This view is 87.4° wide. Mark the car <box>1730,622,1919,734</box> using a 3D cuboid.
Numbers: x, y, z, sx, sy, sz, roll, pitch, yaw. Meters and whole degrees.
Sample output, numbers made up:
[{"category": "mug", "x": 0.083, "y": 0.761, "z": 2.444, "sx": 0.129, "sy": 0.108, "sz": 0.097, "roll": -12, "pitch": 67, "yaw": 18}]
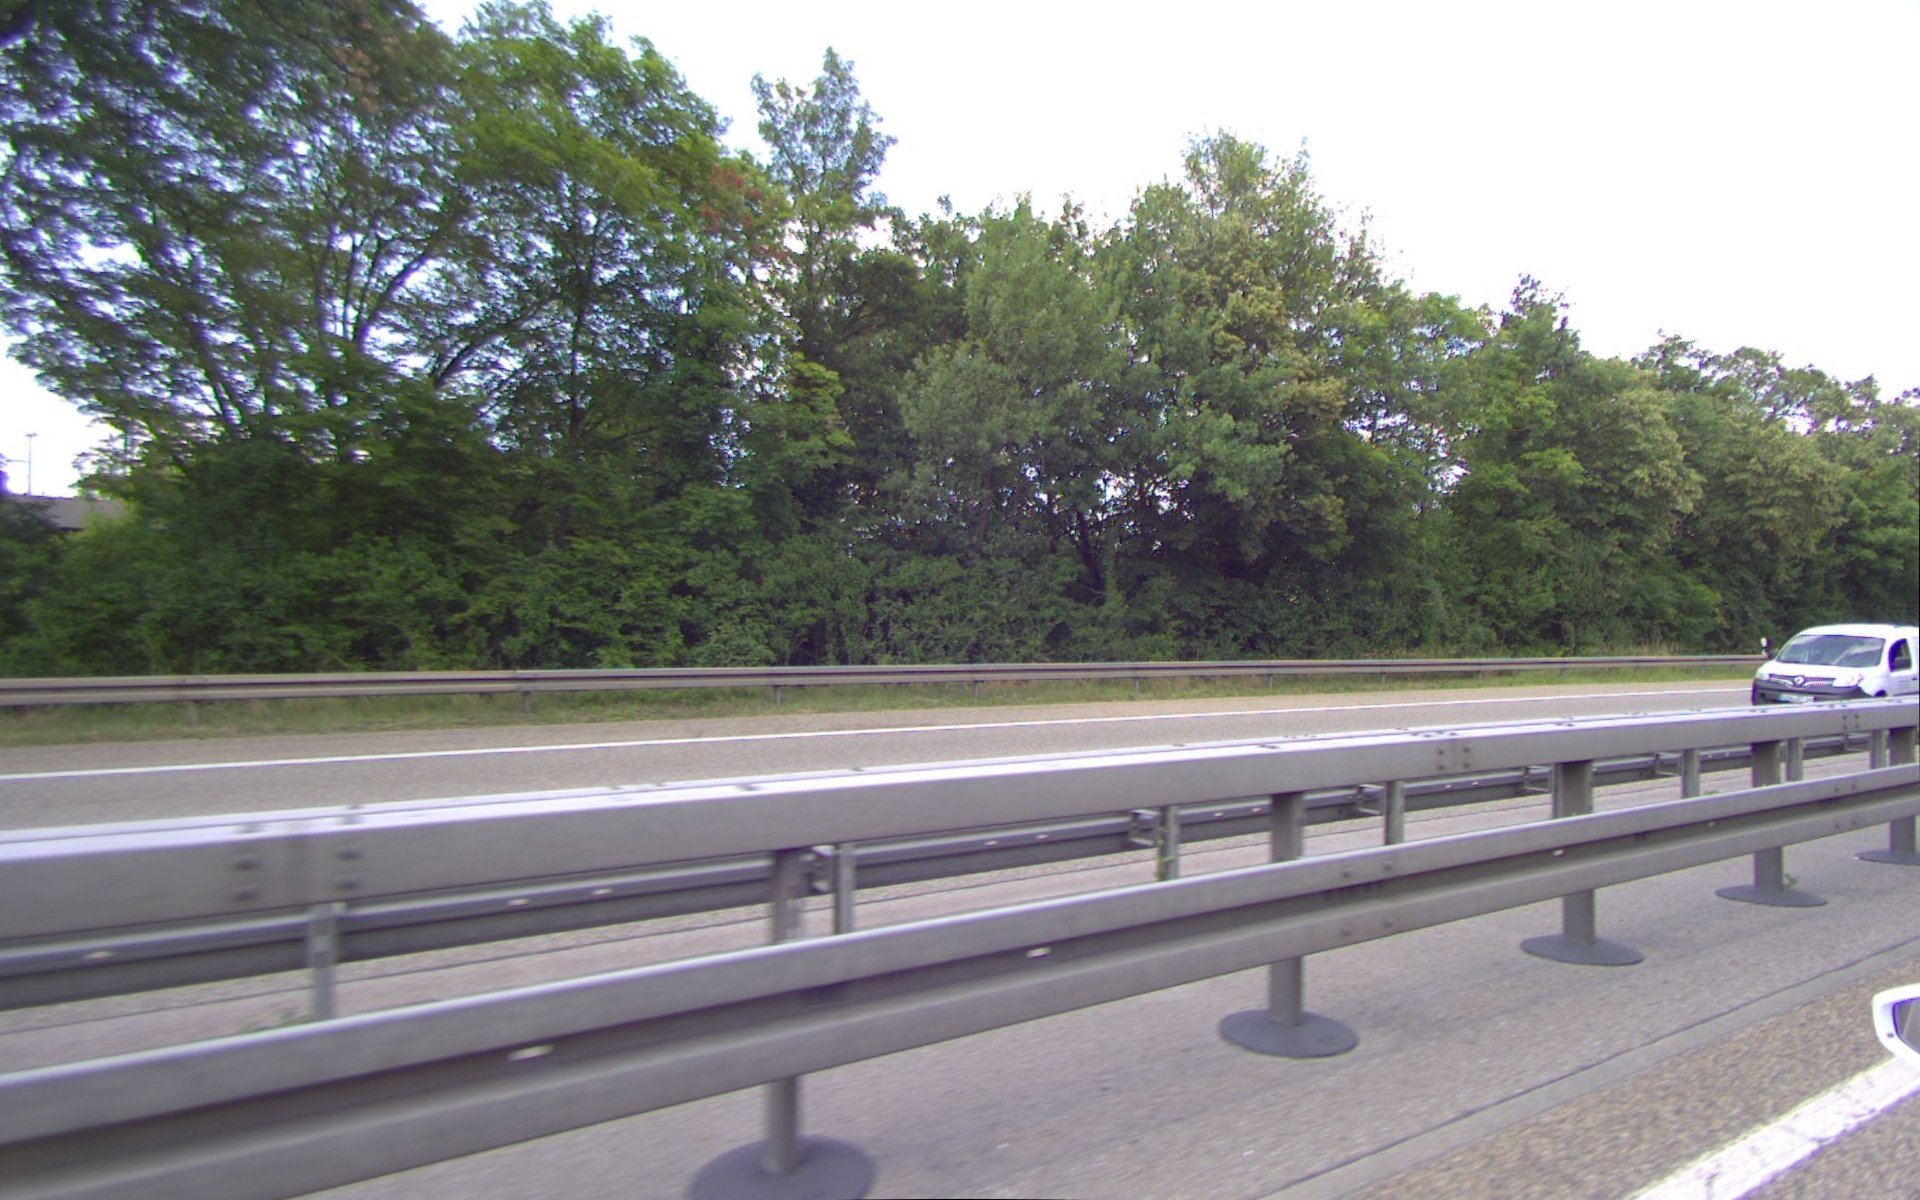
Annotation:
[{"category": "car", "x": 16.776, "y": 1.360, "z": 18.837, "sx": 5.414, "sy": 1.843, "sz": 1.836, "roll": 1, "pitch": -1, "yaw": -30}]
